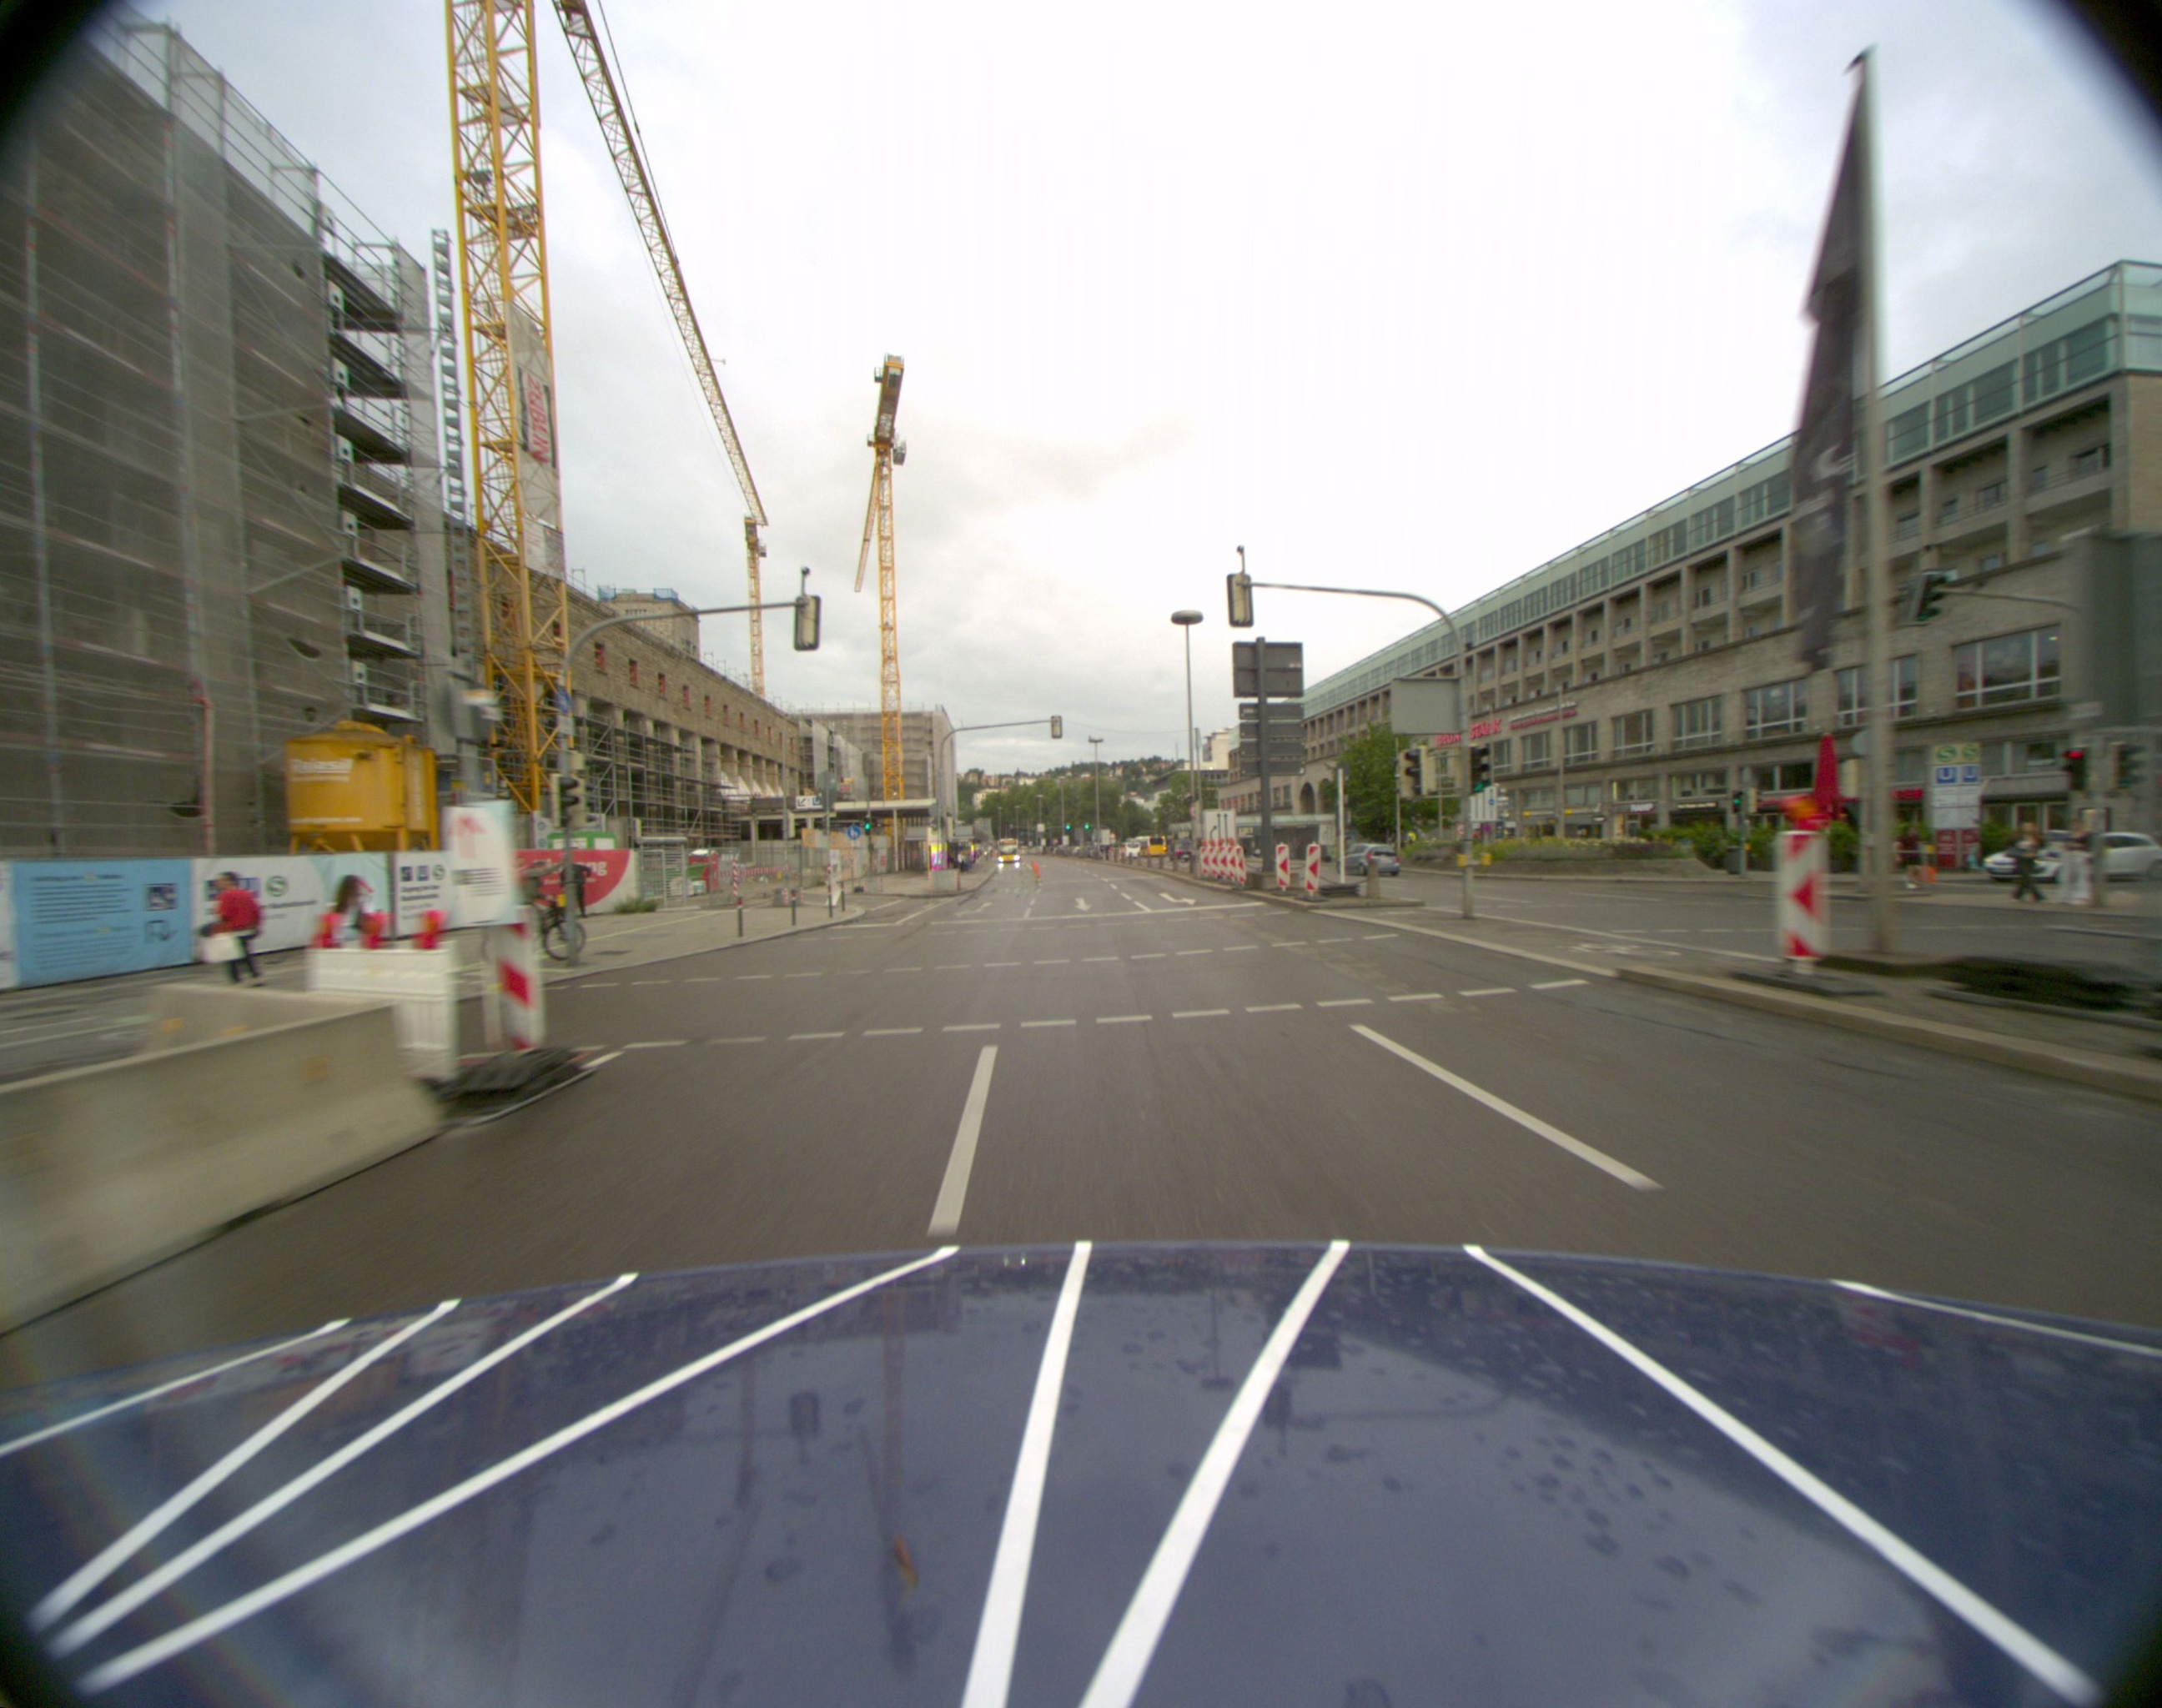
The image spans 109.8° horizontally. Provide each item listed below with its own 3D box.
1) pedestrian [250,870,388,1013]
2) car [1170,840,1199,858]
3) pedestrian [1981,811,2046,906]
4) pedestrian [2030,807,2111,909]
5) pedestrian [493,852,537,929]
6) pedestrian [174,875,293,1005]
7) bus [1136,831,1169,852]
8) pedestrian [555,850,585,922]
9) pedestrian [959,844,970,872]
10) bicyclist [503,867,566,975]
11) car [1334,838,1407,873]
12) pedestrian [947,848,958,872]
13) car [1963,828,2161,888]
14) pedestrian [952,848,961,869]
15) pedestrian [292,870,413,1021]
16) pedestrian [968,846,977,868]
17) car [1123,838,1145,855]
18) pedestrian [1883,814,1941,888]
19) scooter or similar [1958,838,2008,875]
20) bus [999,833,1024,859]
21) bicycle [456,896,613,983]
[{"bbox_3d":[-9.880,1.101,9.893,0.815,1.746,0.881,-1,1,1],"label":"pedestrian"},{"bbox_3d":[10.311,-0.520,76.002,1.887,1.674,3.997,-1,1,-6],"label":"car"},{"bbox_3d":[19.179,0.090,15.639,0.715,1.914,0.592,0,2,37],"label":"pedestrian"},{"bbox_3d":[19.234,0.075,14.786,0.591,1.914,0.751,-1,1,-4],"label":"pedestrian"},{"bbox_3d":[-15.078,0.966,20.264,0.640,2.002,0.629,-1,1,20],"label":"pedestrian"},{"bbox_3d":[-12.050,1.198,10.826,0.714,1.717,0.743,-3,1,1],"label":"pedestrian"},{"bbox_3d":[10.533,-1.804,113.518,2.910,2.923,9.815,-1,1,-7],"label":"bus"},{"bbox_3d":[-14.665,0.910,21.814,0.629,2.002,0.577,-2,2,-36],"label":"pedestrian"},{"bbox_3d":[-8.244,0.276,53.883,0.735,2.002,0.645,-1,1,-10],"label":"pedestrian"},{"bbox_3d":[-8.865,1.076,12.335,0.696,1.695,0.434,-1,1,14],"label":"bicyclist"},{"bbox_3d":[14.103,0.043,37.259,1.759,1.612,3.998,-1,1,-5],"label":"car"},{"bbox_3d":[-9.480,0.437,56.193,0.681,1.684,0.619,-1,1,2],"label":"pedestrian"},{"bbox_3d":[29.281,0.102,22.528,4.090,1.630,1.806,-1,1,1],"label":"car"},{"bbox_3d":[-9.940,0.343,60.733,0.545,1.684,0.558,-1,1,0],"label":"pedestrian"},{"bbox_3d":[-9.117,1.105,9.555,0.806,1.746,0.814,0,3,-21],"label":"pedestrian"},{"bbox_3d":[-8.894,0.238,62.267,0.646,1.813,0.735,-1,1,0],"label":"pedestrian"},{"bbox_3d":[6.453,-0.968,92.198,2.038,1.962,3.998,-1,1,-5],"label":"car"},{"bbox_3d":[22.821,-0.084,20.888,0.705,2.002,0.807,-1,1,-4],"label":"pedestrian"},{"bbox_3d":[30.680,0.076,25.853,0.427,1.237,1.048,-2,1,-29],"label":"scooter or similar"},{"bbox_3d":[-9.177,-1.023,99.454,3.000,3.120,7.759,-2,1,-6],"label":"bus"},{"bbox_3d":[-8.842,1.341,12.417,0.755,1.127,1.993,-1,2,15],"label":"bicycle"}]
